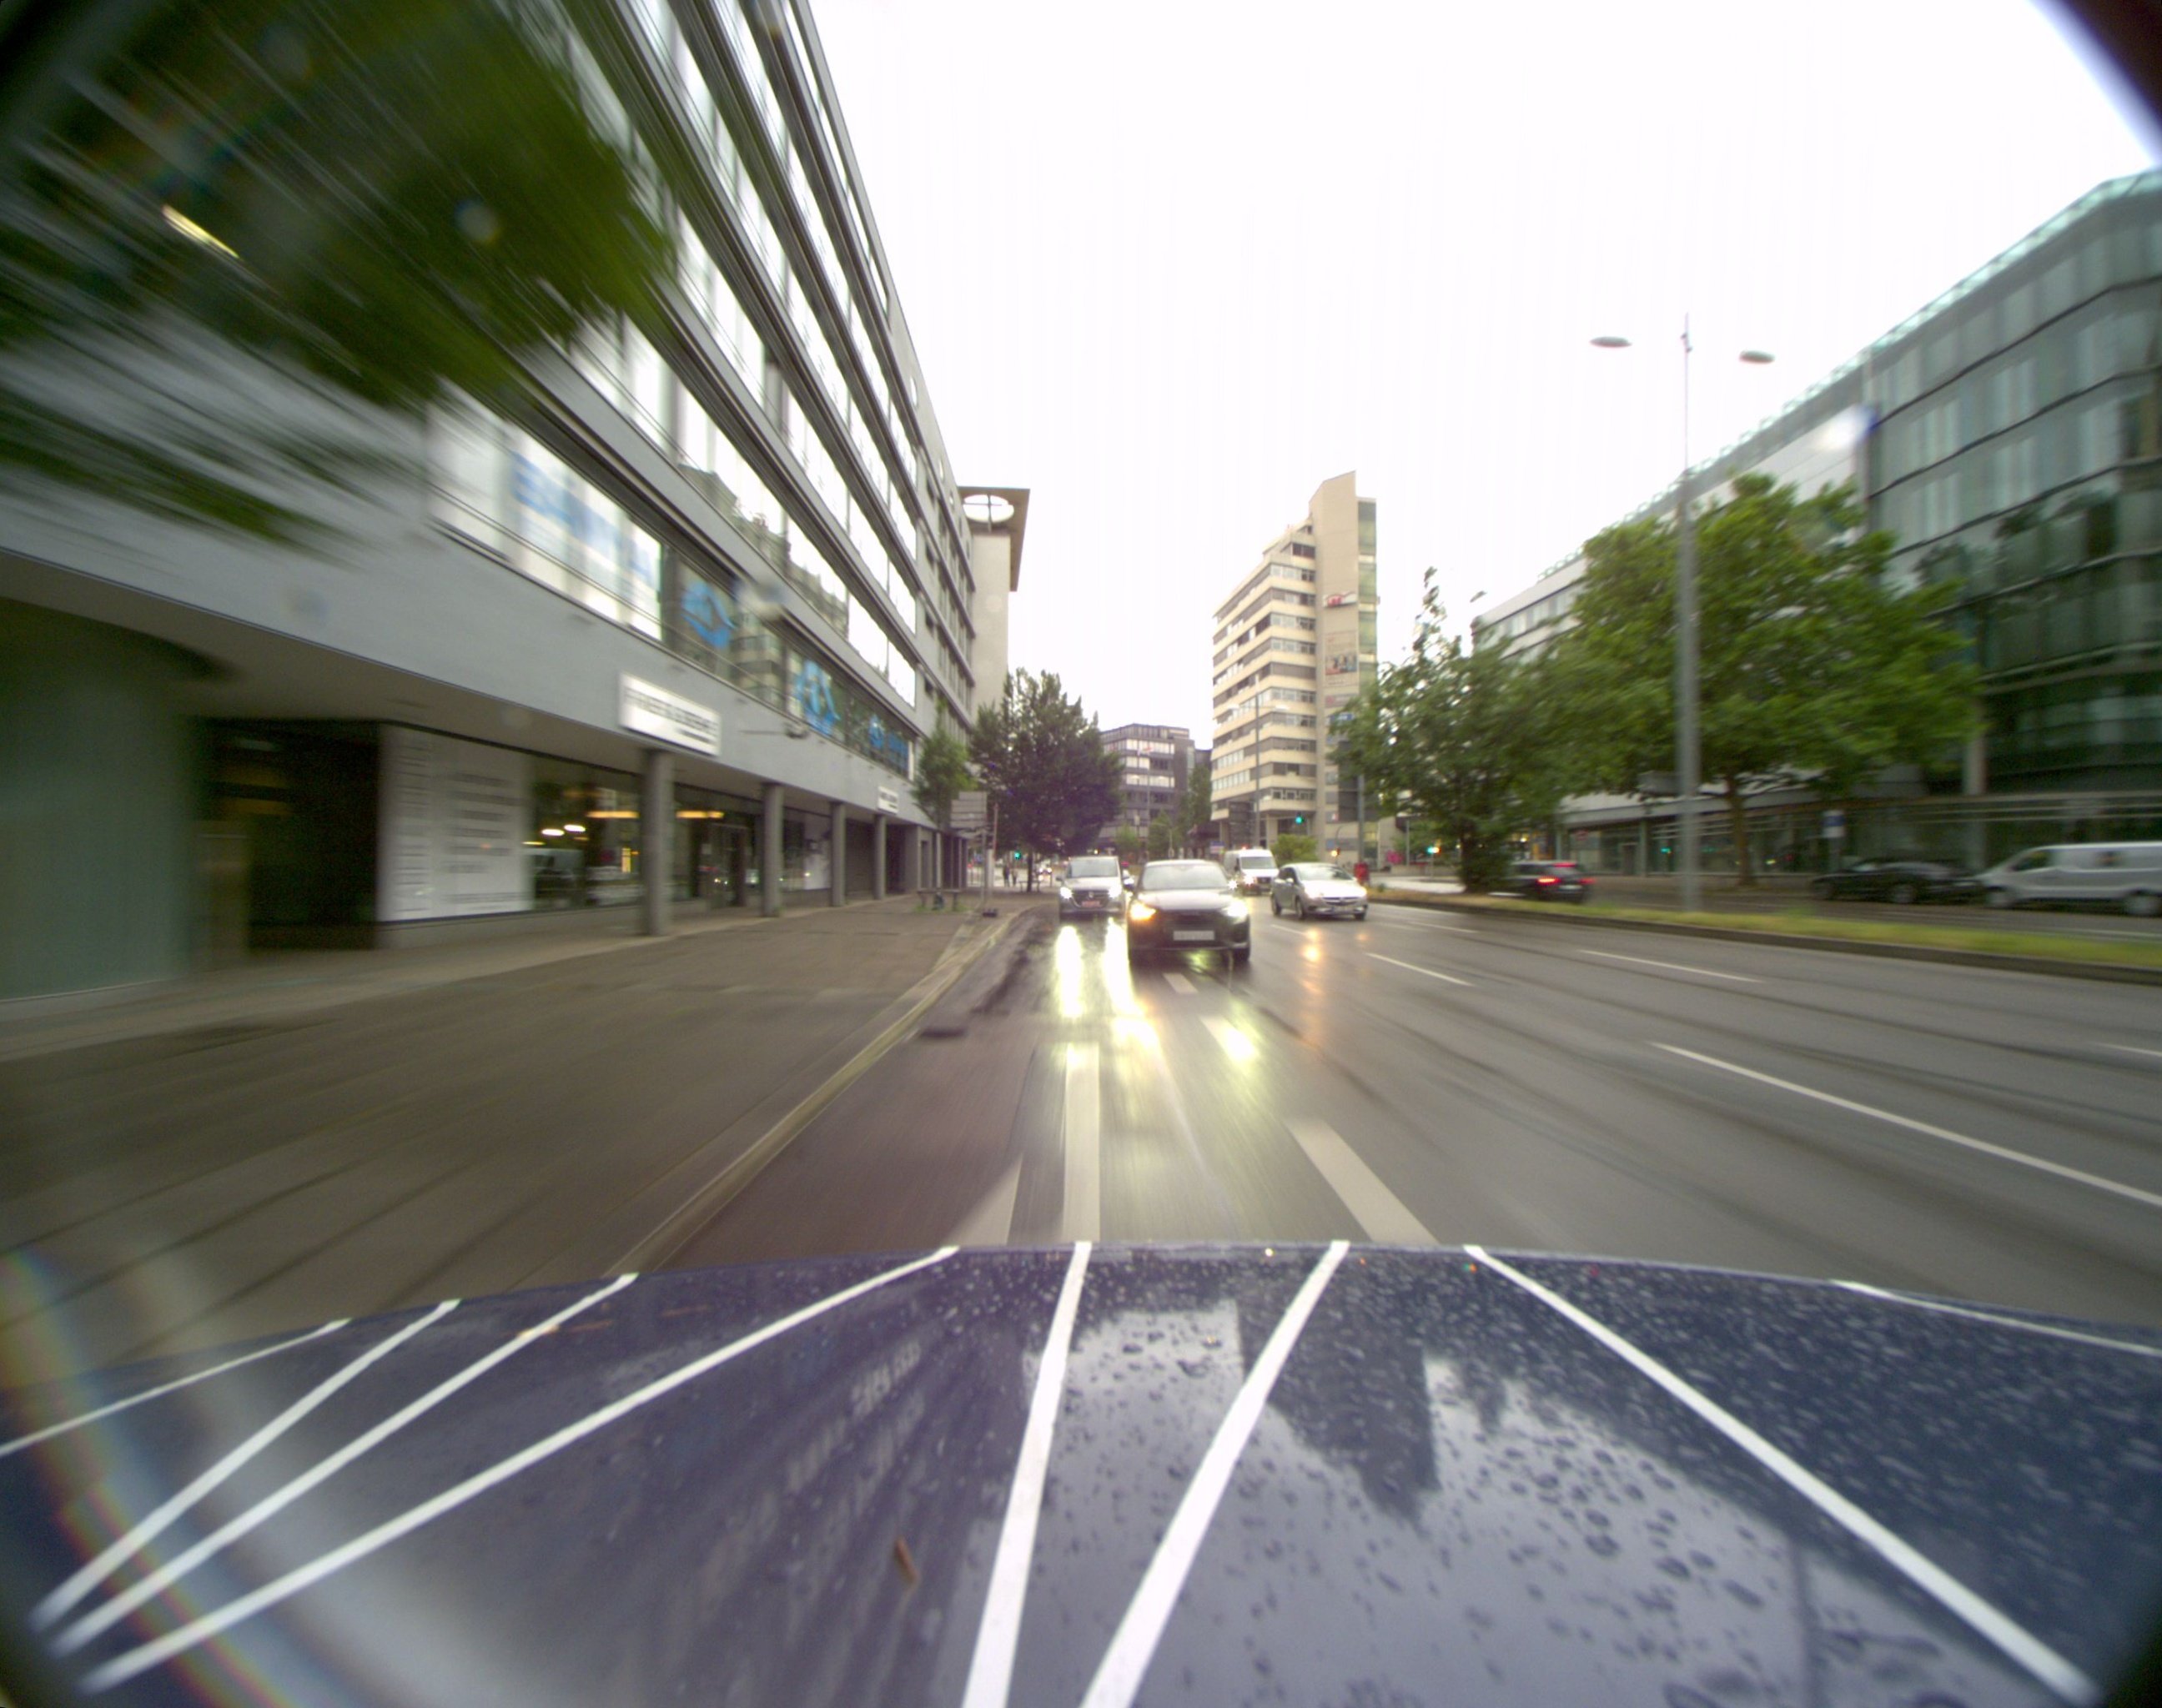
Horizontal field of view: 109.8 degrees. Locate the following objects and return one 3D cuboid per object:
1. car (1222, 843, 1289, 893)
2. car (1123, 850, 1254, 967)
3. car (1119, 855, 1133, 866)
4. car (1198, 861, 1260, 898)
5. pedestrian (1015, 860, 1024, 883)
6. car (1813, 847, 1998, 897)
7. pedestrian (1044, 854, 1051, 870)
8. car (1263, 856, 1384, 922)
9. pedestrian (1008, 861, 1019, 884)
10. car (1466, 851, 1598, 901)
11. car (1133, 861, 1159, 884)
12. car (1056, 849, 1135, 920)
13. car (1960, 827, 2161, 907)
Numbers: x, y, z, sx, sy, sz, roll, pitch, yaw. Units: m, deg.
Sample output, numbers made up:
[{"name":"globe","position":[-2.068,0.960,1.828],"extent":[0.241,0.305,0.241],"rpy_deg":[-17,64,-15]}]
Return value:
[{"name":"car","position":[9.240,0.648,40.728],"extent":[2.259,2.372,5.718],"rpy_deg":[-2,1,0]},{"name":"car","position":[1.851,0.771,12.895],"extent":[1.801,1.543,4.390],"rpy_deg":[-1,1,9]},{"name":"car","position":[7.799,1.098,131.931],"extent":[1.999,1.576,5.167],"rpy_deg":[-2,1,-2]},{"name":"car","position":[6.670,1.103,34.676],"extent":[1.904,1.393,4.240],"rpy_deg":[-2,1,-1]},{"name":"pedestrian","position":[-4.957,1.402,61.408],"extent":[0.641,1.772,0.880],"rpy_deg":[-2,0,0]},{"name":"car","position":[28.439,0.559,26.448],"extent":[1.802,1.520,4.285],"rpy_deg":[-2,1,0]},{"name":"pedestrian","position":[-3.522,0.823,80.163],"extent":[0.654,1.589,1.058],"rpy_deg":[-2,2,-5]},{"name":"car","position":[6.386,0.850,20.522],"extent":[1.774,1.470,4.125],"rpy_deg":[-2,1,-3]},{"name":"pedestrian","position":[-5.248,1.456,59.250],"extent":[0.794,1.772,0.894],"rpy_deg":[-2,0,-3]},{"name":"car","position":[16.821,0.749,28.682],"extent":[1.831,1.623,4.872],"rpy_deg":[-2,1,-4]},{"name":"car","position":[4.874,1.364,57.149],"extent":[1.784,1.499,4.000],"rpy_deg":[-2,1,3]},{"name":"car","position":[0.335,0.829,23.838],"extent":[2.060,1.881,5.046],"rpy_deg":[-2,1,-3]},{"name":"car","position":[28.474,0.283,21.303],"extent":[1.998,2.002,4.915],"rpy_deg":[-2,1,0]}]
